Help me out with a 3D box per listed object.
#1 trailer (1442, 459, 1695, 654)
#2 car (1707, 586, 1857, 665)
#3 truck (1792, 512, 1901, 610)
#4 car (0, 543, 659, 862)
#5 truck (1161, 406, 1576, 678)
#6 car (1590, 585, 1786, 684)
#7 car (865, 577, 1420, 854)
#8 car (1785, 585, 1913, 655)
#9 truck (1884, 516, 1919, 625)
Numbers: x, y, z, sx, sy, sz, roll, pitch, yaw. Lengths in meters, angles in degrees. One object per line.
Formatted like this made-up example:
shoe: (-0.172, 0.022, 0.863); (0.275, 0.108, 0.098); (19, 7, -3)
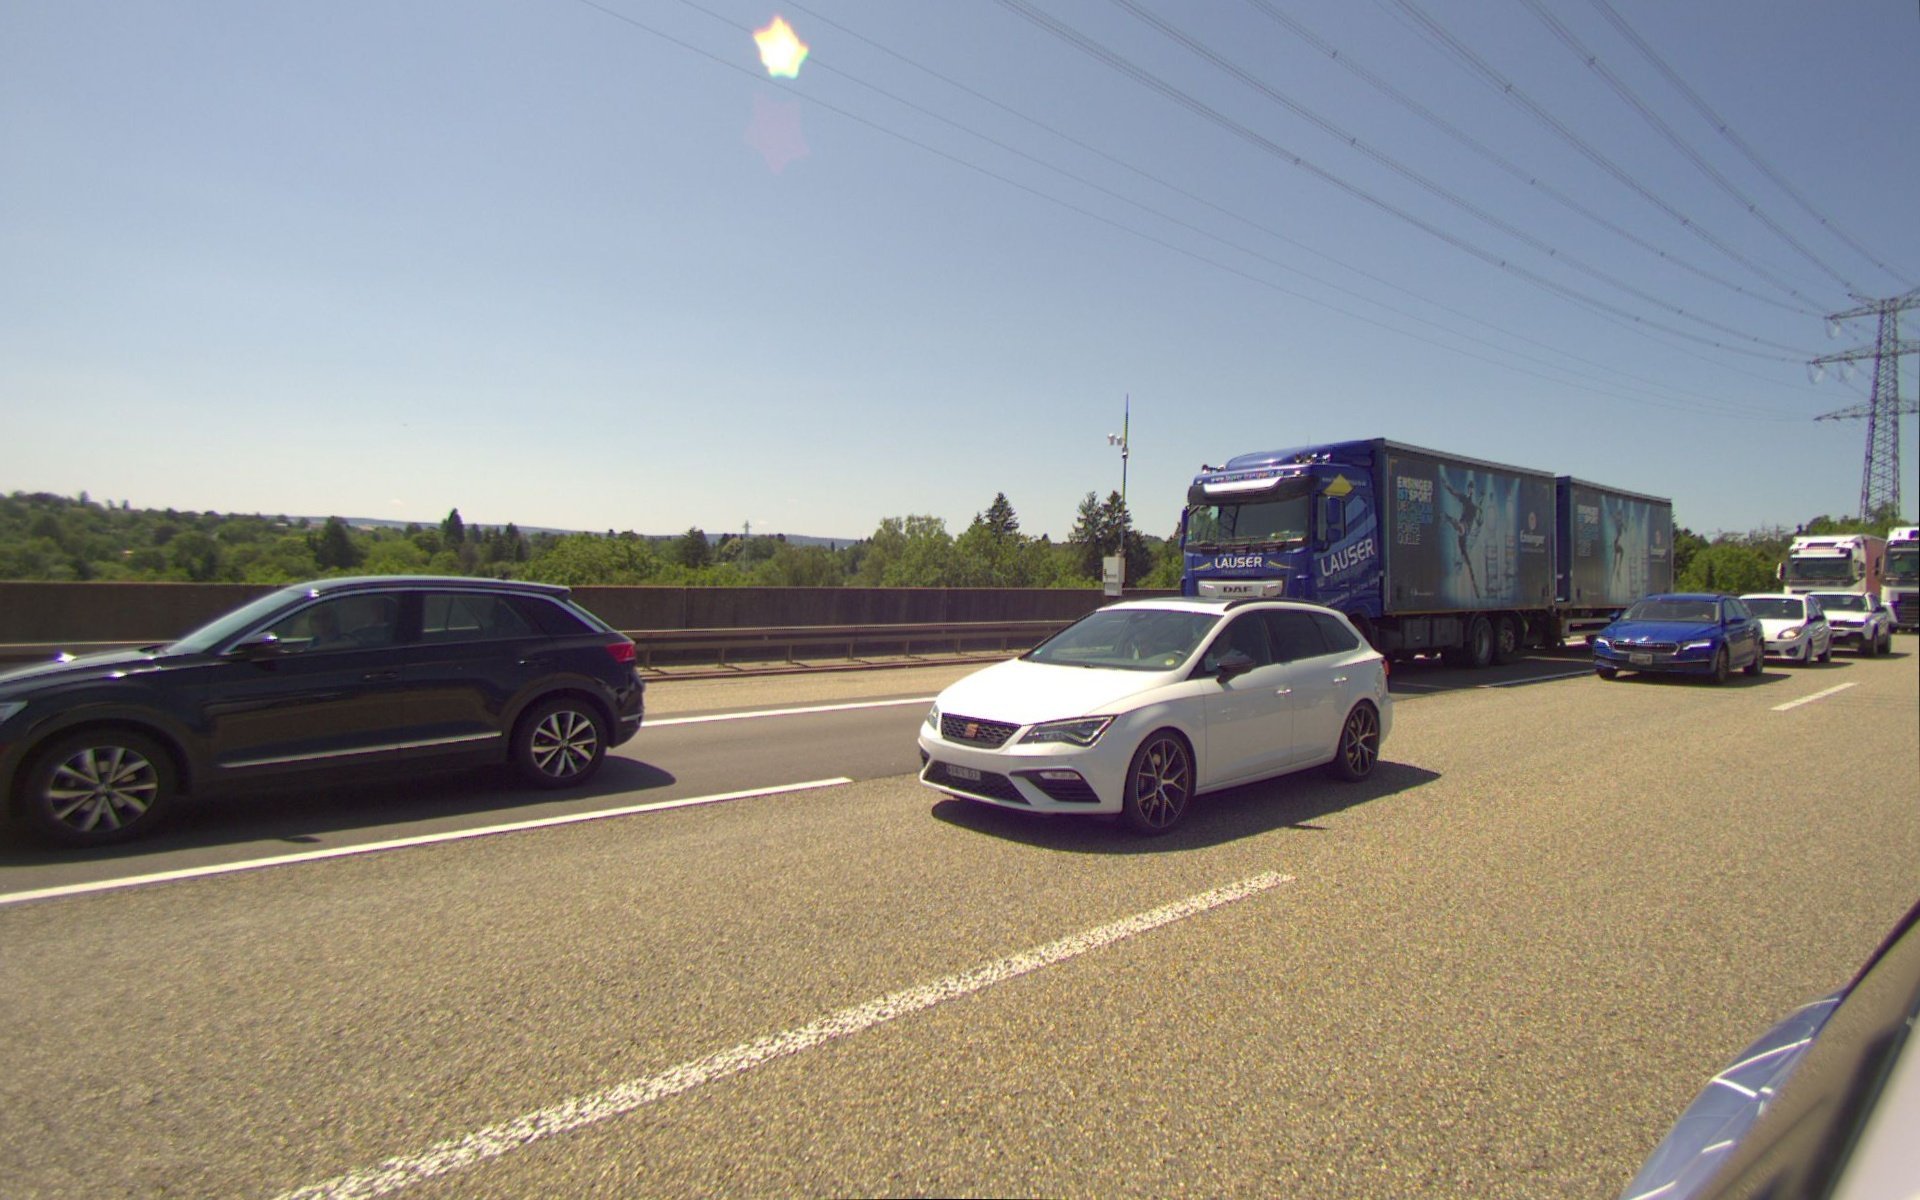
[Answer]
trailer: (15.410, -0.994, 25.296); (8.485, 4.140, 2.833); (-1, 0, -40)
car: (17.350, 0.463, 21.295); (4.071, 1.470, 1.712); (-1, 1, -40)
truck: (39.989, -1.683, 45.552); (8.121, 4.037, 2.606); (-1, 0, -41)
car: (-4.373, 0.512, 7.031); (4.046, 1.675, 1.711); (-1, 1, -41)
truck: (8.205, -0.932, 19.229); (10.210, 3.999, 2.857); (-1, 1, -40)
car: (12.665, 0.501, 17.505); (4.483, 1.470, 1.712); (-1, 1, -40)
car: (1.562, 0.611, 7.473); (4.352, 1.470, 1.711); (0, 0, -41)
car: (21.411, 0.412, 24.329); (4.071, 1.528, 1.712); (-1, 1, -40)
truck: (37.518, -1.101, 38.321); (8.121, 3.874, 2.847); (-1, 1, -41)
